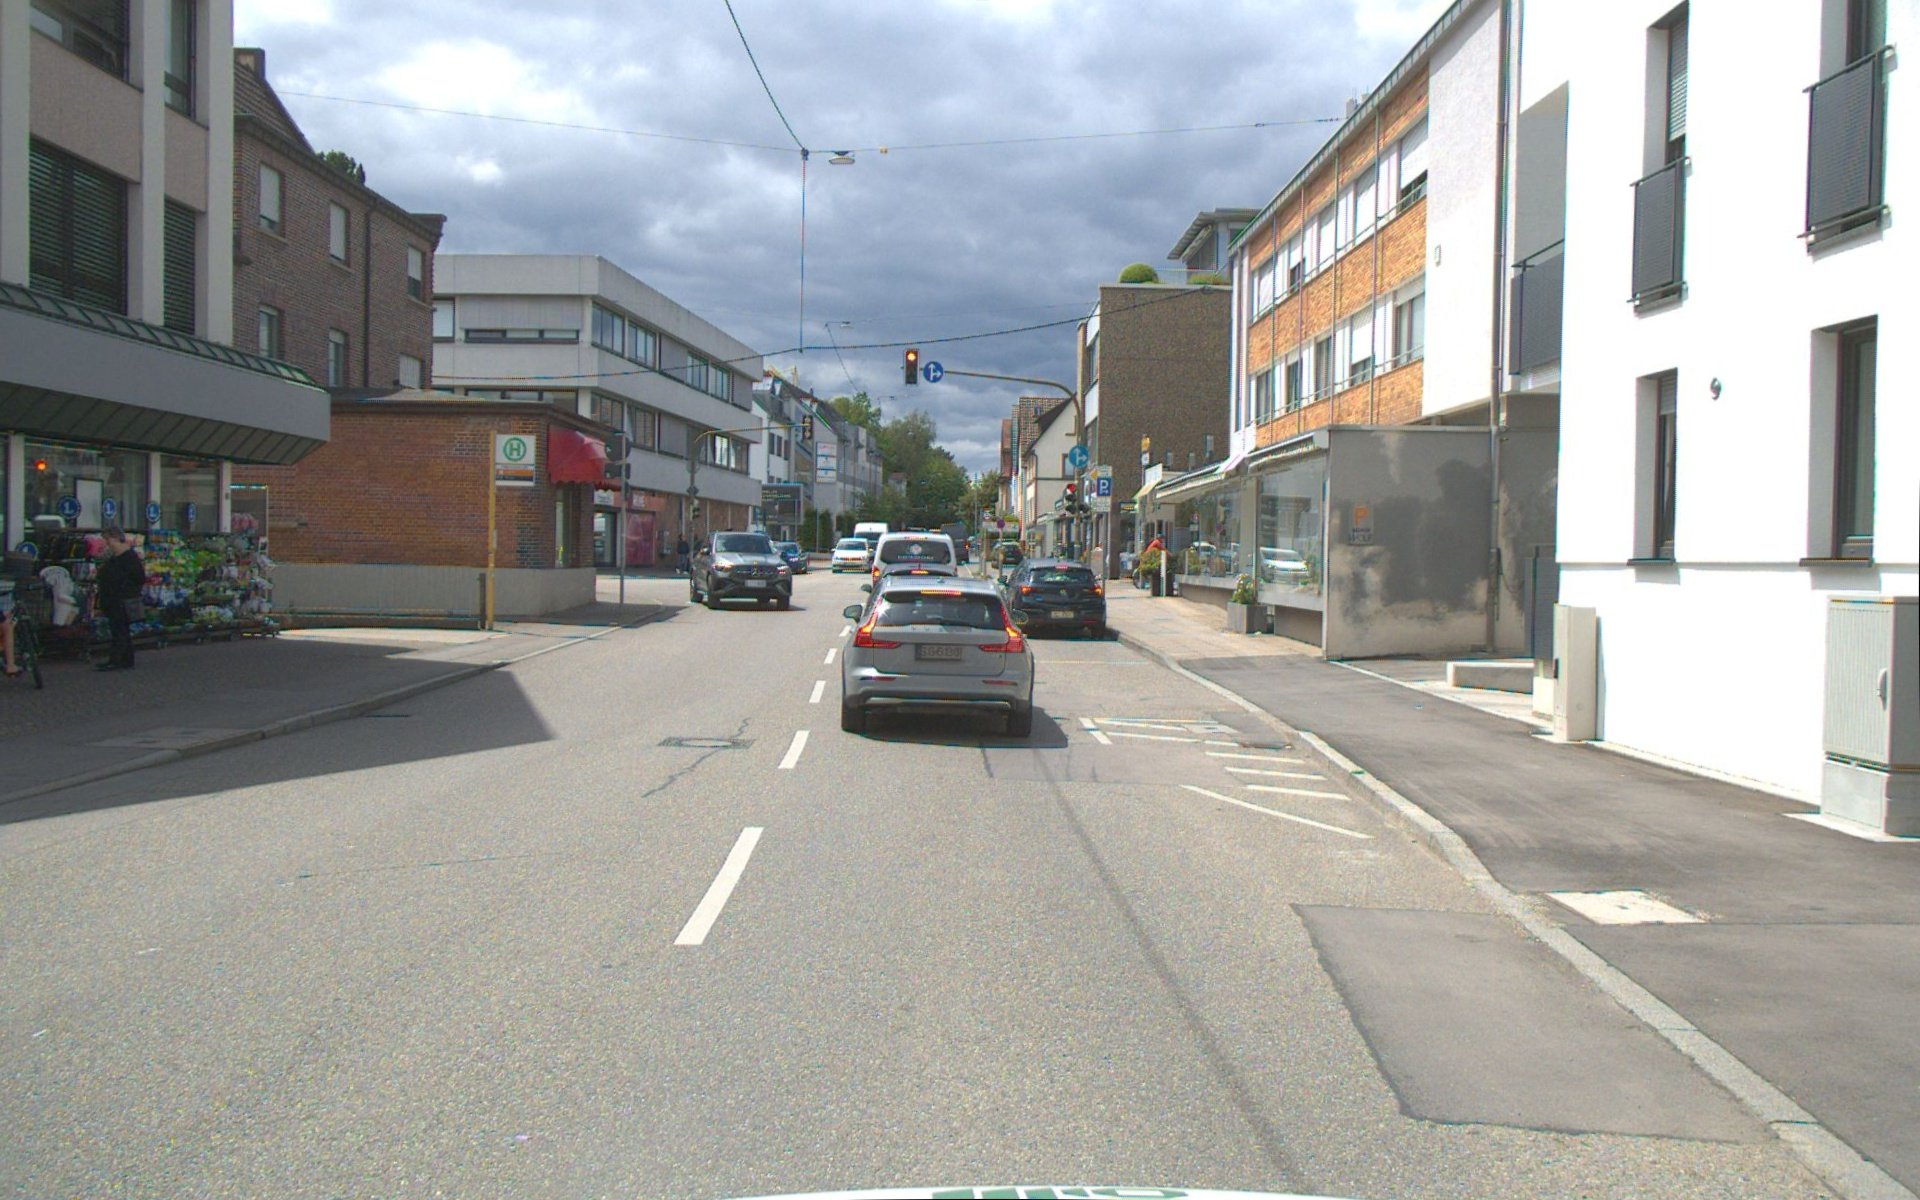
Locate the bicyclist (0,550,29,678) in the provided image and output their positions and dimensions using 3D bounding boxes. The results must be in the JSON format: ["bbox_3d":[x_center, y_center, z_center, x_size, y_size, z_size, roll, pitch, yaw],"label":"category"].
[{"bbox_3d":[-9.185,0.128,15.591,0.448,1.199,0.624,0,0,-1],"label":"bicyclist"}]

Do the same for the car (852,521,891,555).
[{"bbox_3d":[-4.994,-3.477,93.339,1.834,1.669,4.001,1,-1,2],"label":"car"}]

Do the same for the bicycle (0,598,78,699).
[{"bbox_3d":[-9.068,0.456,15.675,0.457,0.876,1.777,2,2,-1],"label":"bicycle"}]

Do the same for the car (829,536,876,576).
[{"bbox_3d":[-5.111,-2.078,79.112,1.834,1.668,4.001,2,0,2],"label":"car"}]

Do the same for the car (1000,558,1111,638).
[{"bbox_3d":[1.807,-0.088,32.446,1.718,1.394,3.998,1,2,-3],"label":"car"}]

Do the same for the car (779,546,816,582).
[{"bbox_3d":[-9.858,-2.164,100.730,1.954,2.049,3.998,2,0,-2],"label":"car"}]

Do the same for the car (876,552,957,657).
[{"bbox_3d":[-0.704,0.028,27.083,1.248,1.553,3.050,0,3,-1],"label":"car"}]

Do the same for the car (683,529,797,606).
[{"bbox_3d":[-5.368,-0.750,39.963,1.813,1.756,4.325,1,0,-20],"label":"car"}]

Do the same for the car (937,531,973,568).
[{"bbox_3d":[-0.376,-3.531,116.462,2.387,2.359,5.325,2,0,-1],"label":"car"}]

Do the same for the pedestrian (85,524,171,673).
[{"bbox_3d":[-9.337,-0.016,18.576,0.615,1.630,0.563,1,0,5],"label":"pedestrian"}]

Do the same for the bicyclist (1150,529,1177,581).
[{"bbox_3d":[6.519,-1.431,52.964,0.757,1.634,0.580,1,-1,-4],"label":"bicyclist"}]

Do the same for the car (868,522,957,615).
[{"bbox_3d":[-0.993,-0.648,36.096,1.799,1.894,3.850,1,0,-1],"label":"car"}]

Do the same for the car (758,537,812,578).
[{"bbox_3d":[-7.962,-1.923,75.521,1.834,1.668,4.001,2,0,2],"label":"car"}]

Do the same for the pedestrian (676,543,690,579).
[{"bbox_3d":[-11.453,-1.604,68.400,0.503,1.461,0.490,0,0,0],"label":"pedestrian"}]

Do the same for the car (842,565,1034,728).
[{"bbox_3d":[-0.218,0.418,16.842,1.708,1.441,3.999,0,0,-1],"label":"car"}]

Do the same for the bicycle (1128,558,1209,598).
[{"bbox_3d":[6.665,-0.698,52.947,2.474,1.194,0.585,2,0,-4],"label":"bicycle"}]
